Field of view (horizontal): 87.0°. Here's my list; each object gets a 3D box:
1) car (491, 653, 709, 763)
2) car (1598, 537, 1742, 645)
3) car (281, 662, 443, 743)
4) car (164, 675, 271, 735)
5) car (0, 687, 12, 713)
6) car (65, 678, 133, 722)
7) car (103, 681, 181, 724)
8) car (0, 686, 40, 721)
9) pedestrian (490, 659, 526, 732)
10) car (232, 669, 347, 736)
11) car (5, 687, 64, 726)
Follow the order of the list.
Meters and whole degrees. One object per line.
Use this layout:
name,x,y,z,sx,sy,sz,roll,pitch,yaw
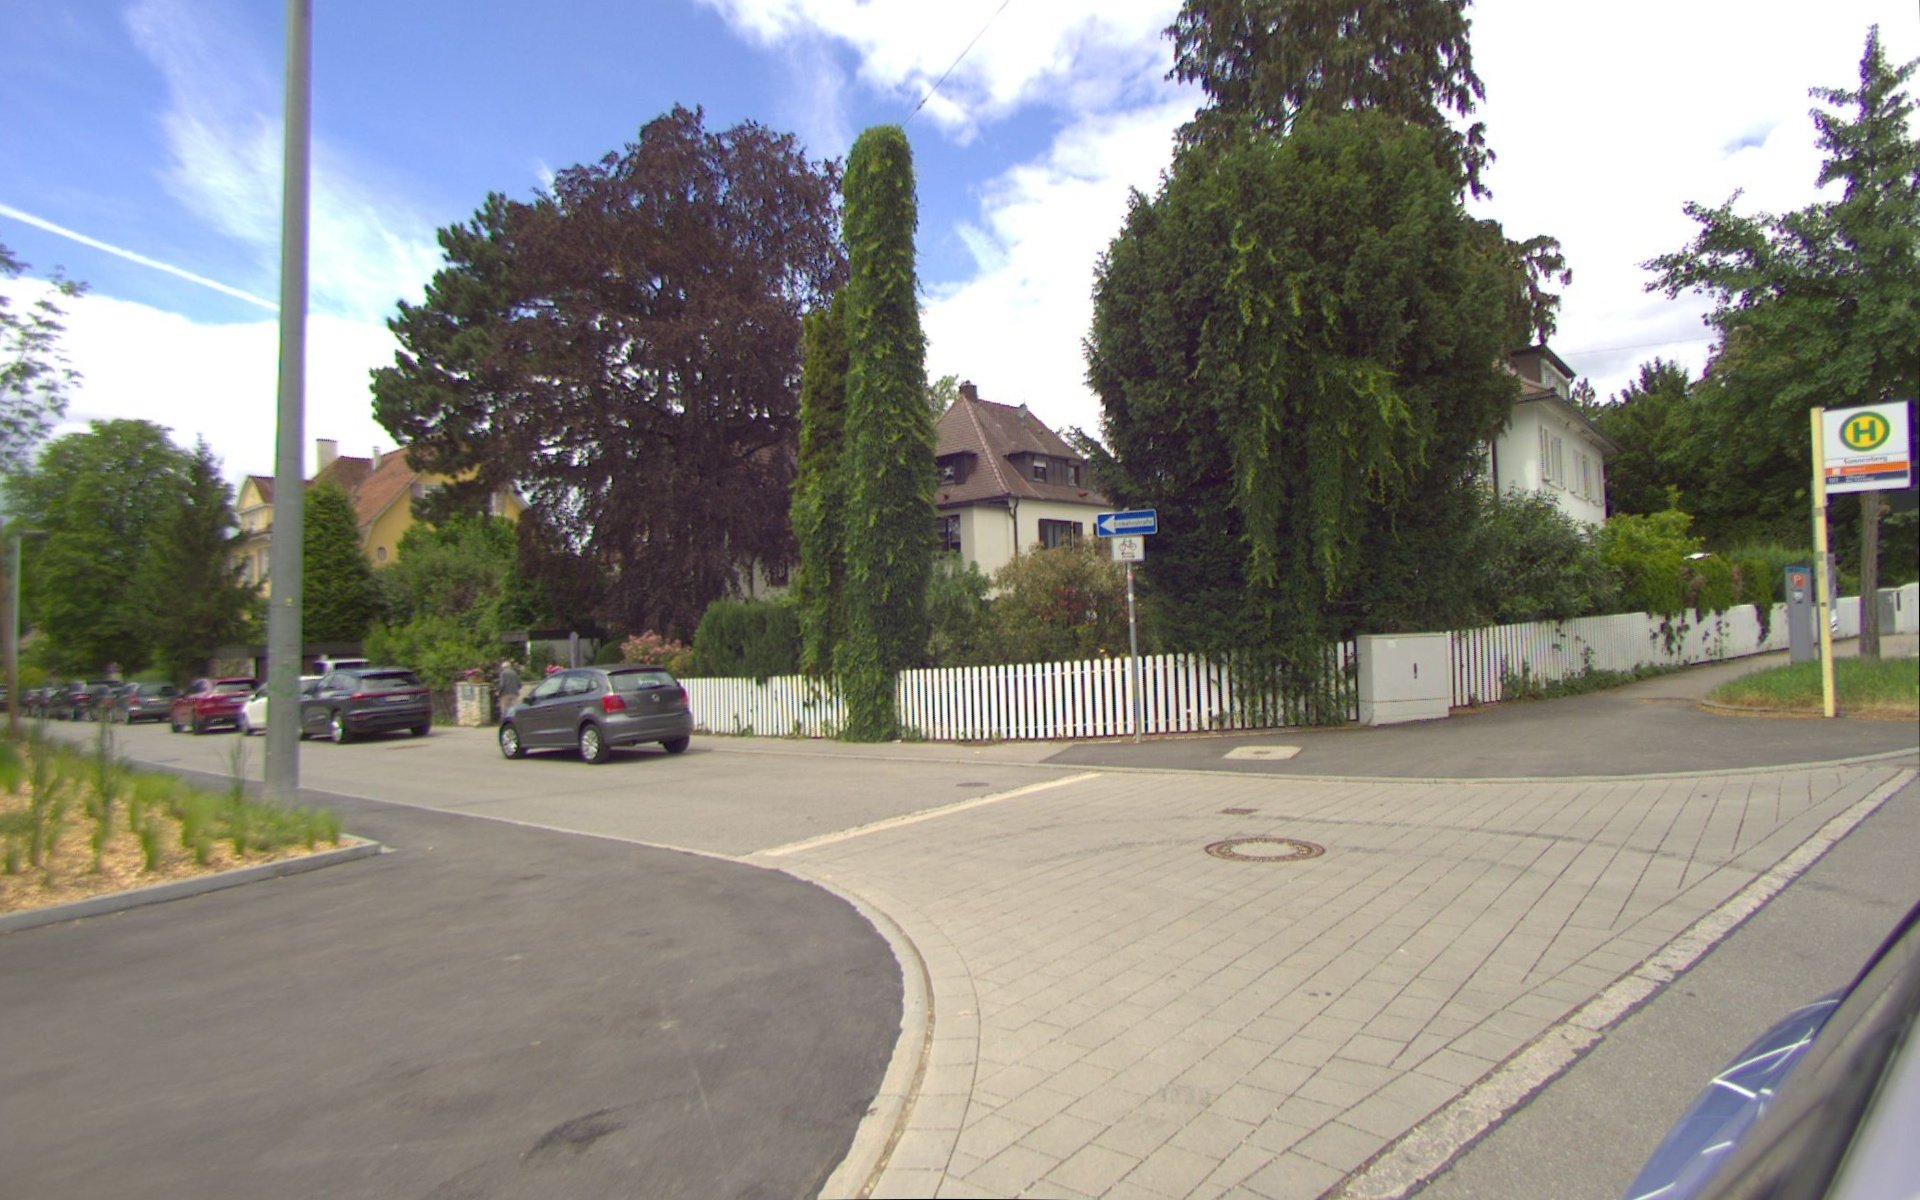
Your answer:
car,-5.826,1.704,16.243,3.514,1.477,1.691,-5,-3,39
car,20.373,-0.242,28.932,2.496,2.716,5.106,-6,-3,43
car,-14.082,2.388,23.750,4.321,1.628,1.861,-5,-3,39
car,-22.187,3.122,30.187,3.874,1.564,1.639,-5,-3,39
car,-63.516,6.592,66.347,3.217,1.655,1.532,-5,-3,39
car,-37.383,4.337,43.901,3.440,1.731,1.639,-5,-3,39
car,-31.606,3.960,39.086,3.440,1.469,1.639,-5,-3,39
car,-50.019,5.449,53.394,3.746,1.655,1.639,-5,-3,39
pedestrian,-10.113,2.118,22.616,0.566,1.568,0.544,-1,-3,-39
car,-18.048,2.740,27.206,3.327,1.564,1.639,-5,-3,39
car,-45.531,5.220,49.782,3.440,1.731,1.639,-5,-3,39
